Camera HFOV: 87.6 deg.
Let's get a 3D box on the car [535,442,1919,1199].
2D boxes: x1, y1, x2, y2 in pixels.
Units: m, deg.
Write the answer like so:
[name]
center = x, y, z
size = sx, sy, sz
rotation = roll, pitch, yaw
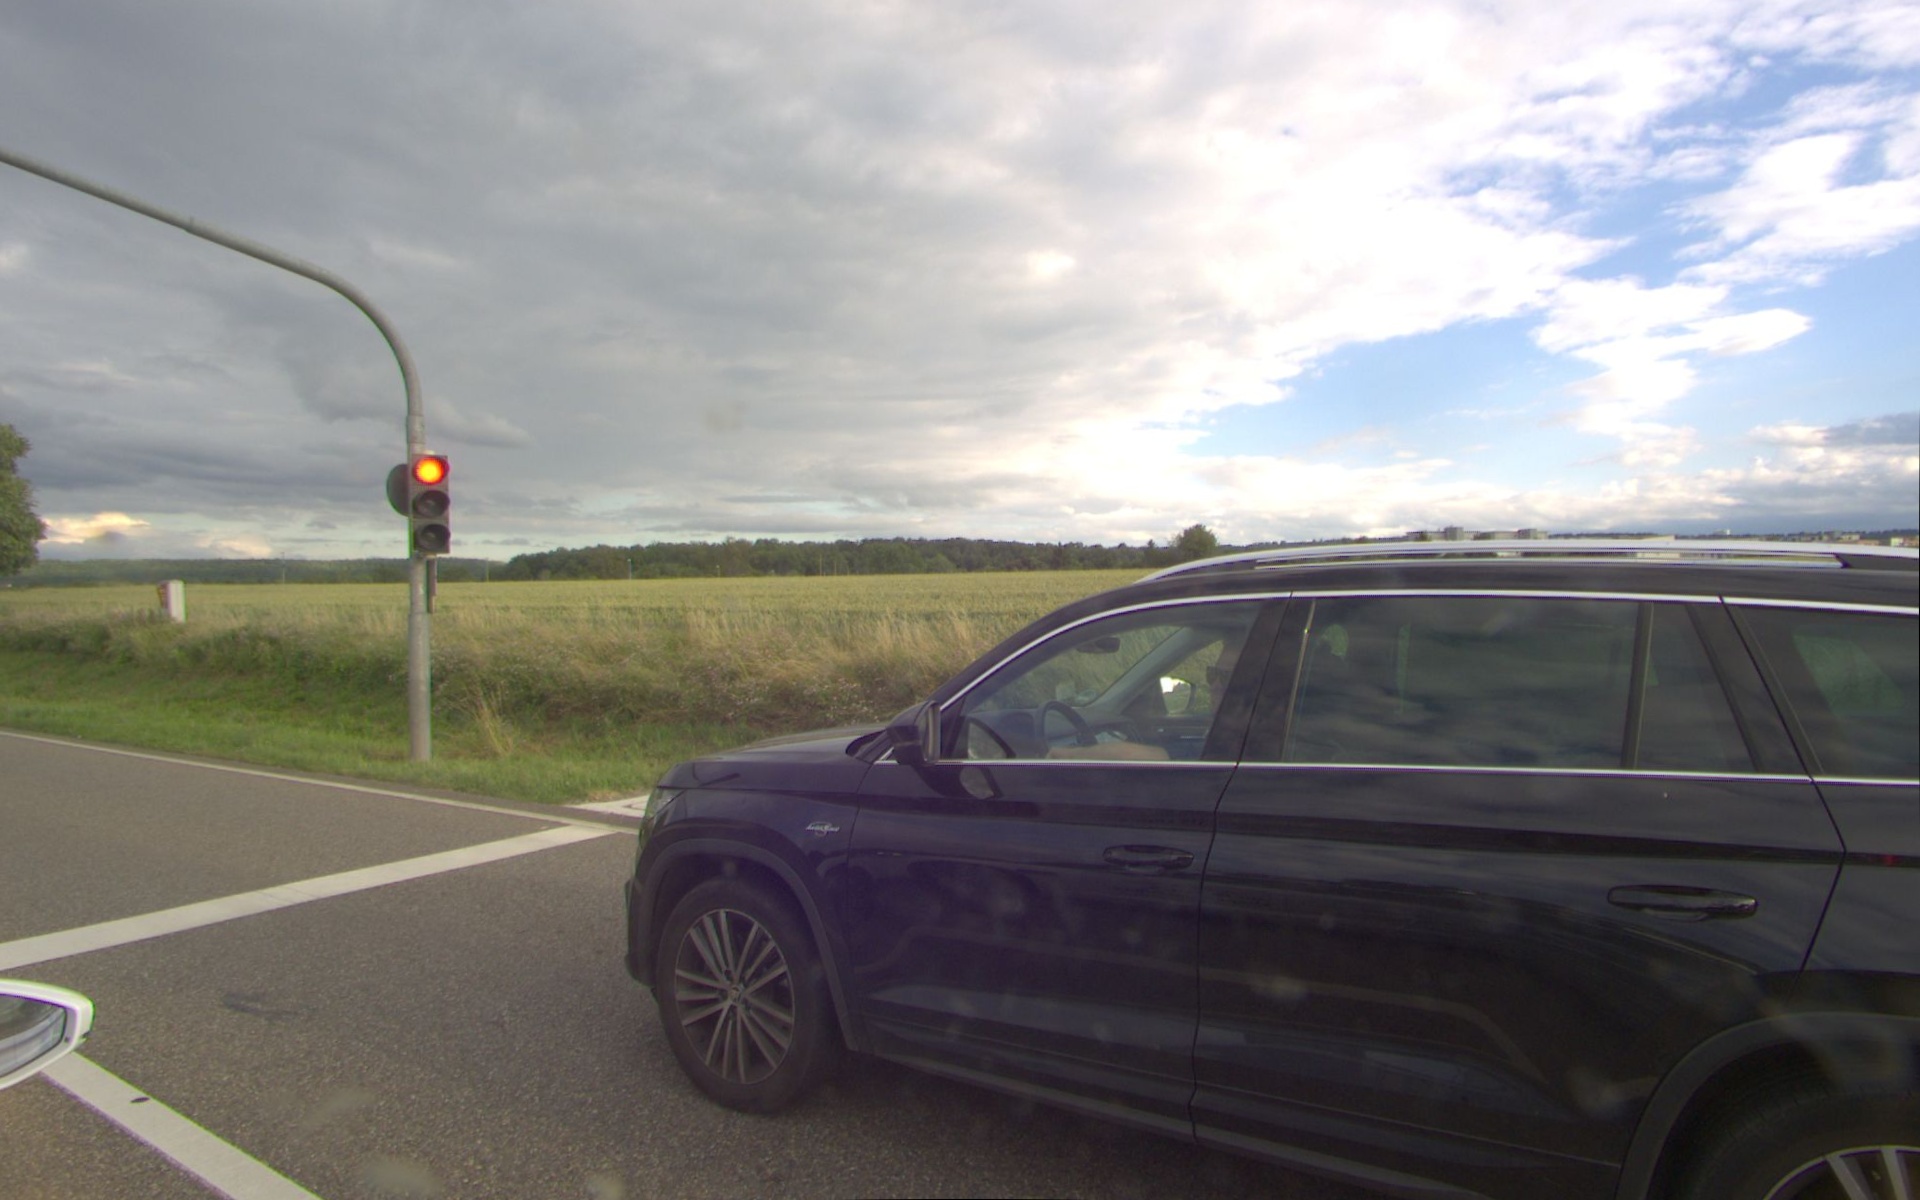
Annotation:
[car]
center = 0.891, 0.673, 3.080
size = 4.492, 1.730, 1.833
rotation = -1, -2, 32
